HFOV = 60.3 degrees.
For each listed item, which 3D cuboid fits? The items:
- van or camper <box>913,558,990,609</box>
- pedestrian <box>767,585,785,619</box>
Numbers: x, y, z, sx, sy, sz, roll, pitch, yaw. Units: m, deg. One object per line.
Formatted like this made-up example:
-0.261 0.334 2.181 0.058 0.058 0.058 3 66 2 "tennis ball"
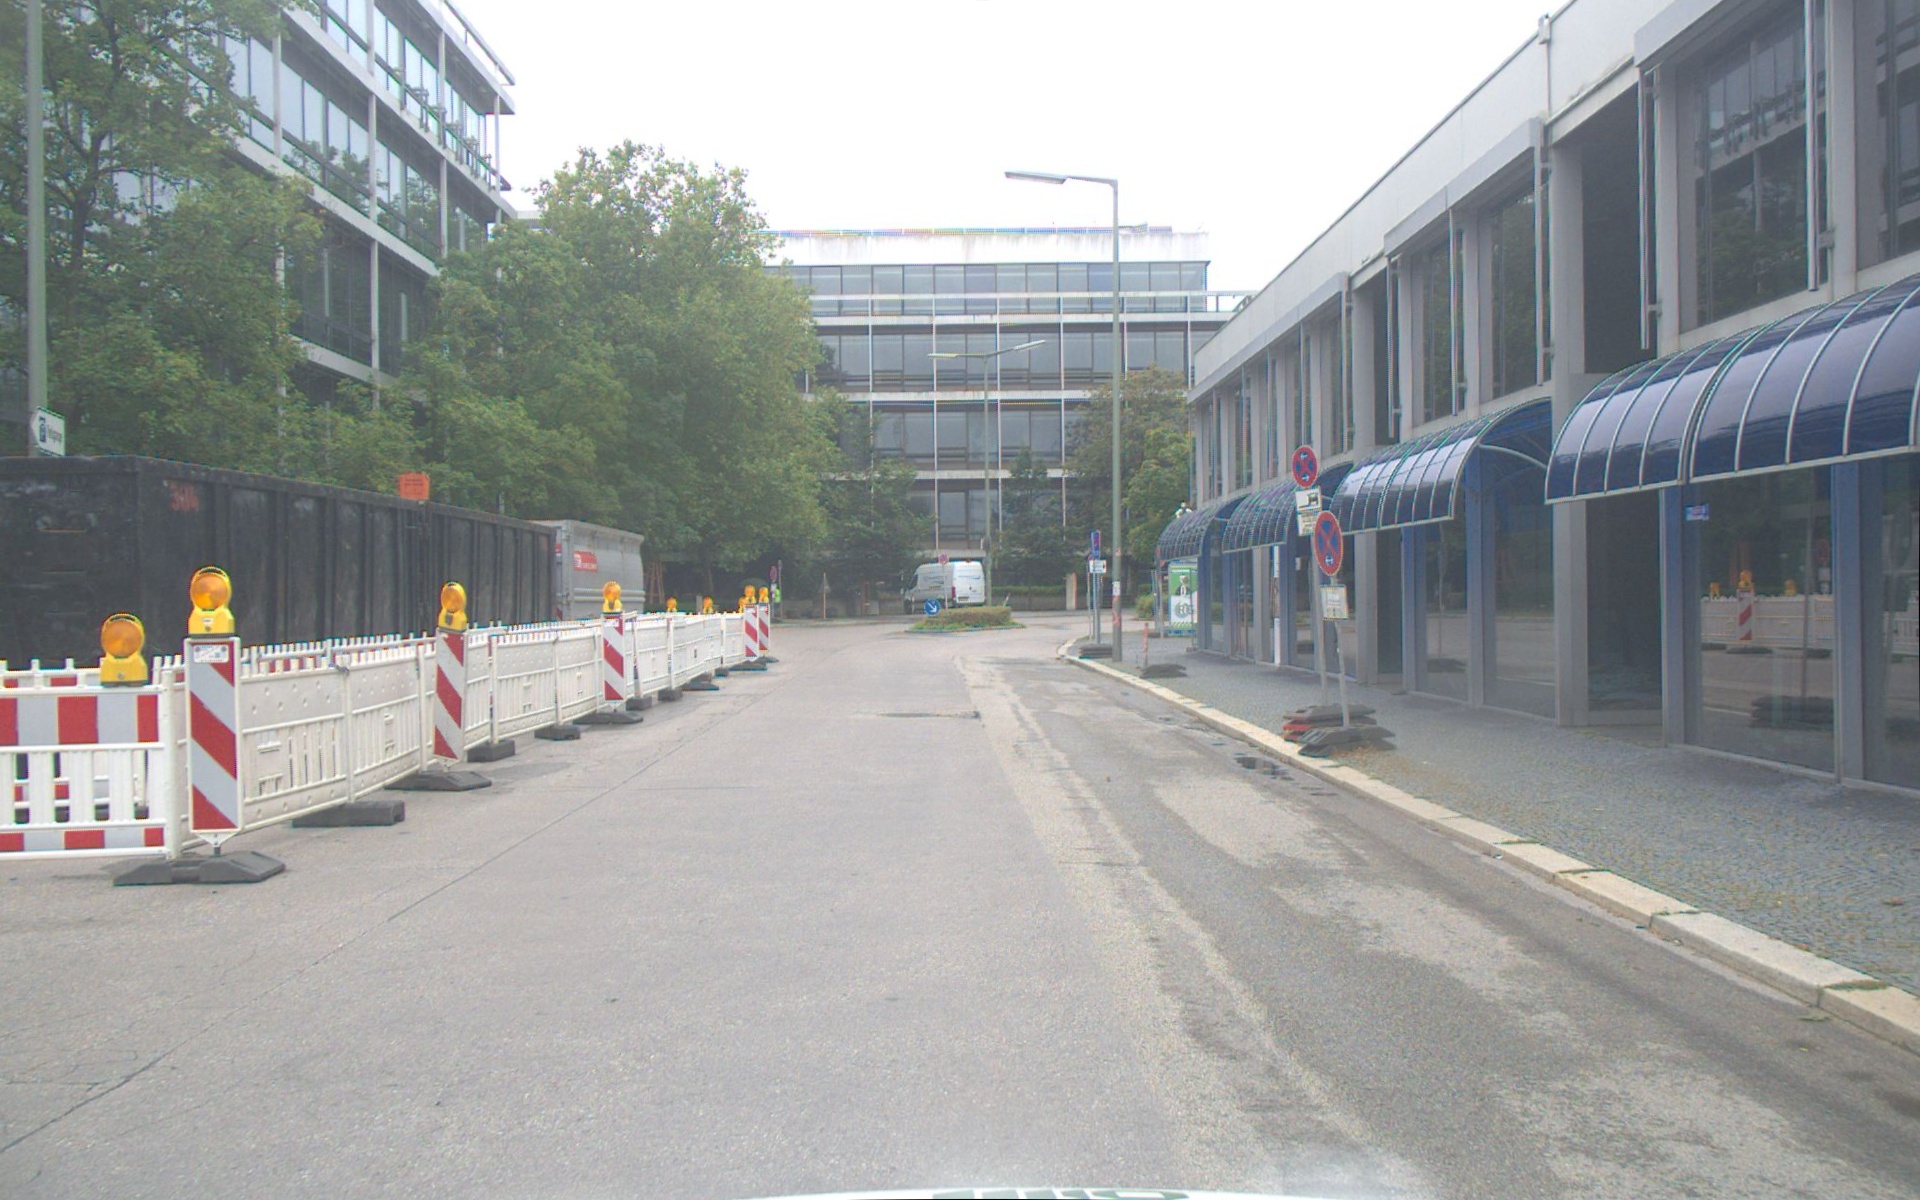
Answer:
-0.500 -0.848 86.575 2.060 2.535 5.025 -1 0 -26 "van or camper"
-9.468 0.111 85.144 0.730 1.706 0.678 -1 0 -20 "pedestrian"
